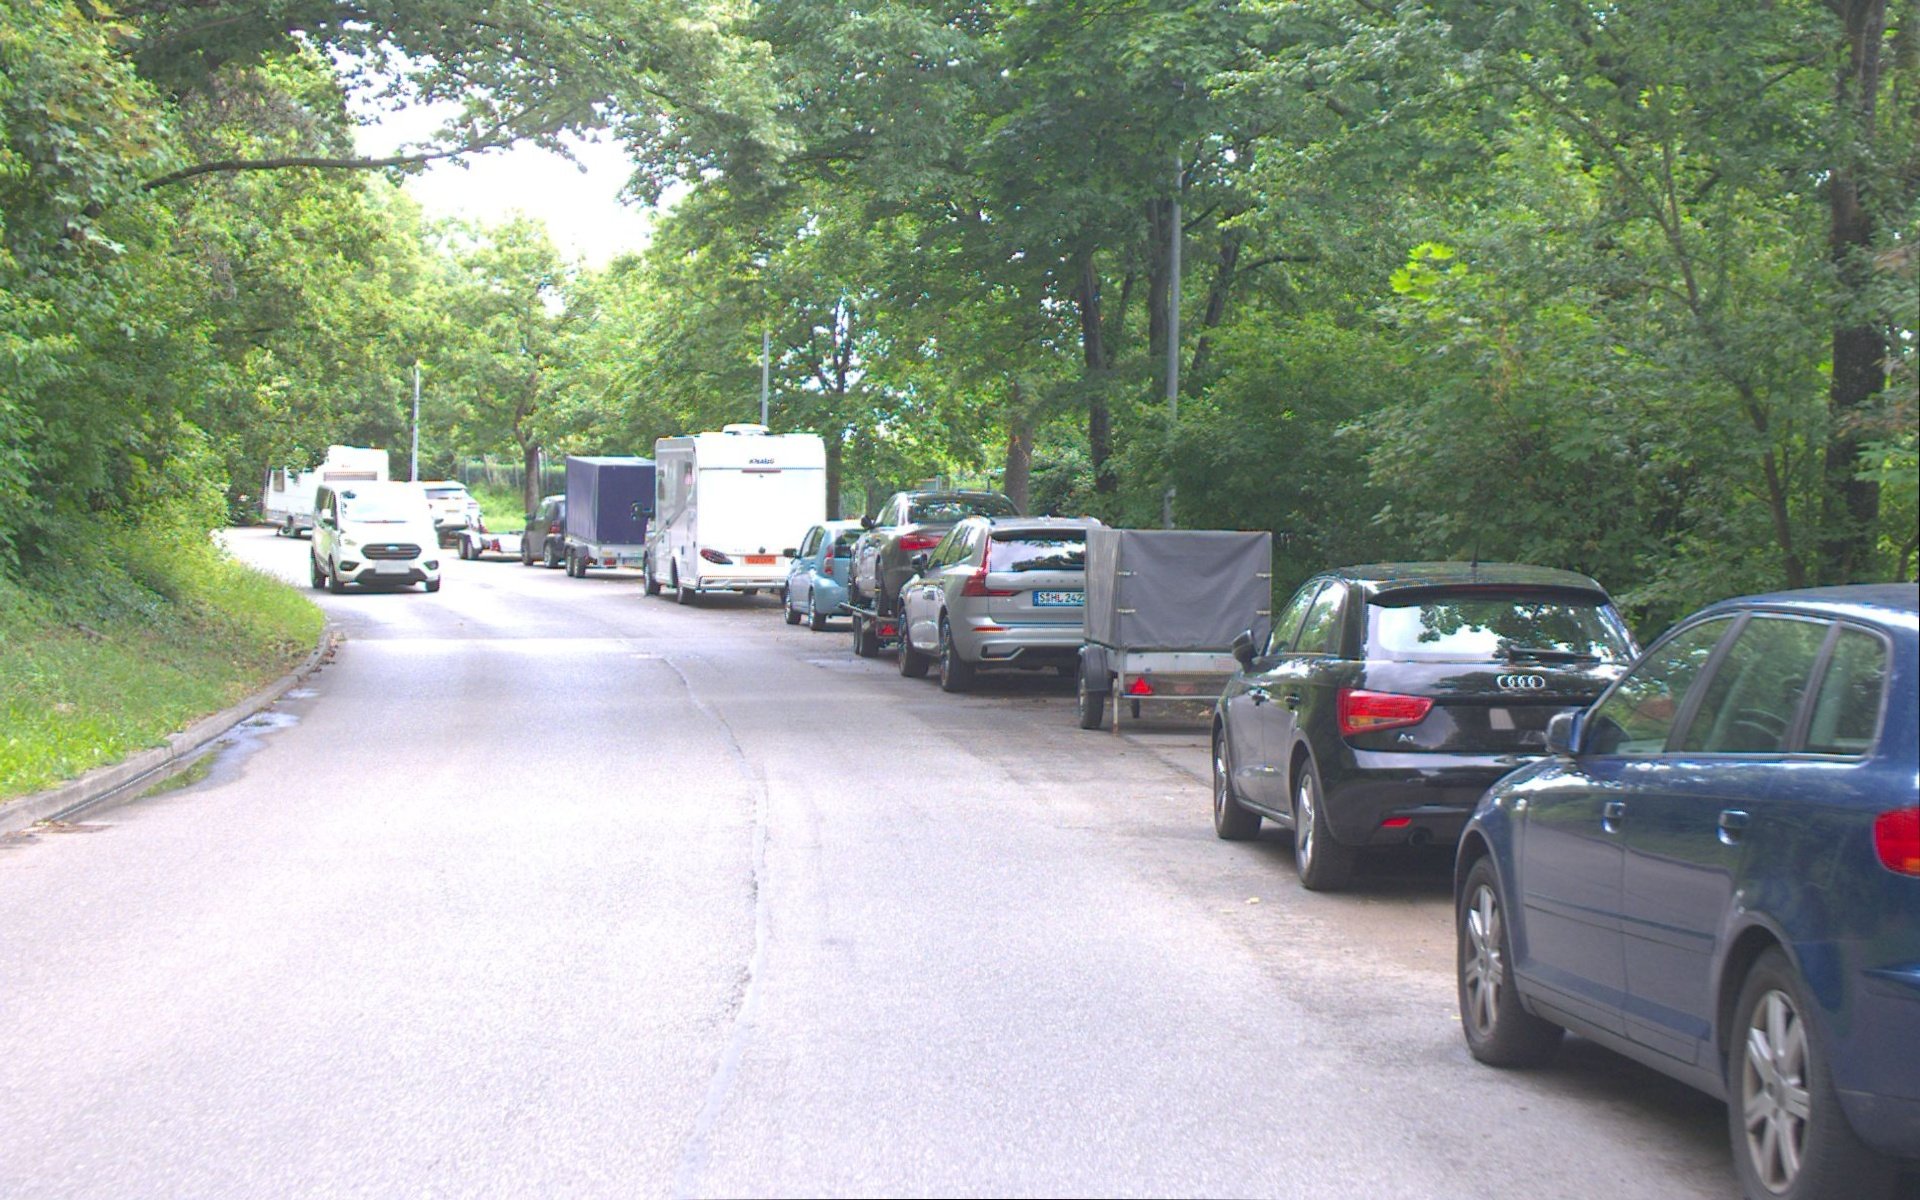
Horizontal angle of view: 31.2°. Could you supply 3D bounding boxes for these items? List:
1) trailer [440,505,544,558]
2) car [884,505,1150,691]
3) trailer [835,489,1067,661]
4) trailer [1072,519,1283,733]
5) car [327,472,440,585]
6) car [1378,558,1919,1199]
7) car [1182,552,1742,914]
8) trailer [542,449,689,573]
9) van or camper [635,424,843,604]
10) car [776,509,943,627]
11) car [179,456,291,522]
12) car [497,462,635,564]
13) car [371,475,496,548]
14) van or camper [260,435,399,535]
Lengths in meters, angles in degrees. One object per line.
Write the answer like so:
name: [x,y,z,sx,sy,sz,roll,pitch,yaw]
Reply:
trailer: [-10.698,-1.573,78.405,1.651,1.083,4.002,-2,3,-18]
car: [0.473,-0.025,33.452,1.791,1.664,4.503,1,0,-9]
trailer: [-0.182,-0.349,39.579,1.978,1.805,5.150,0,2,-8]
trailer: [1.680,0.173,27.133,1.278,1.579,2.461,1,1,-5]
car: [-10.704,-1.348,64.042,1.947,1.977,4.503,1,2,-8]
car: [2.506,0.658,8.933,1.847,1.469,4.480,1,1,-6]
car: [2.227,0.532,16.298,1.720,1.448,3.918,1,1,-5]
trailer: [-7.000,-1.808,69.488,1.993,2.390,4.001,1,2,-20]
van or camper: [-3.893,-1.483,59.095,2.481,2.866,6.892,1,1,-12]
car: [-1.476,-0.486,48.871,1.799,1.556,3.837,0,2,-10]
car: [-22.012,-3.400,104.325,1.994,1.863,4.000,-2,4,-33]
car: [-8.601,-1.916,74.765,1.993,2.018,4.002,-2,4,-21]
car: [-13.393,-2.262,87.322,2.034,1.797,4.084,0,2,-26]
van or camper: [-17.465,-3.202,95.036,2.526,2.688,4.576,-1,3,-28]
